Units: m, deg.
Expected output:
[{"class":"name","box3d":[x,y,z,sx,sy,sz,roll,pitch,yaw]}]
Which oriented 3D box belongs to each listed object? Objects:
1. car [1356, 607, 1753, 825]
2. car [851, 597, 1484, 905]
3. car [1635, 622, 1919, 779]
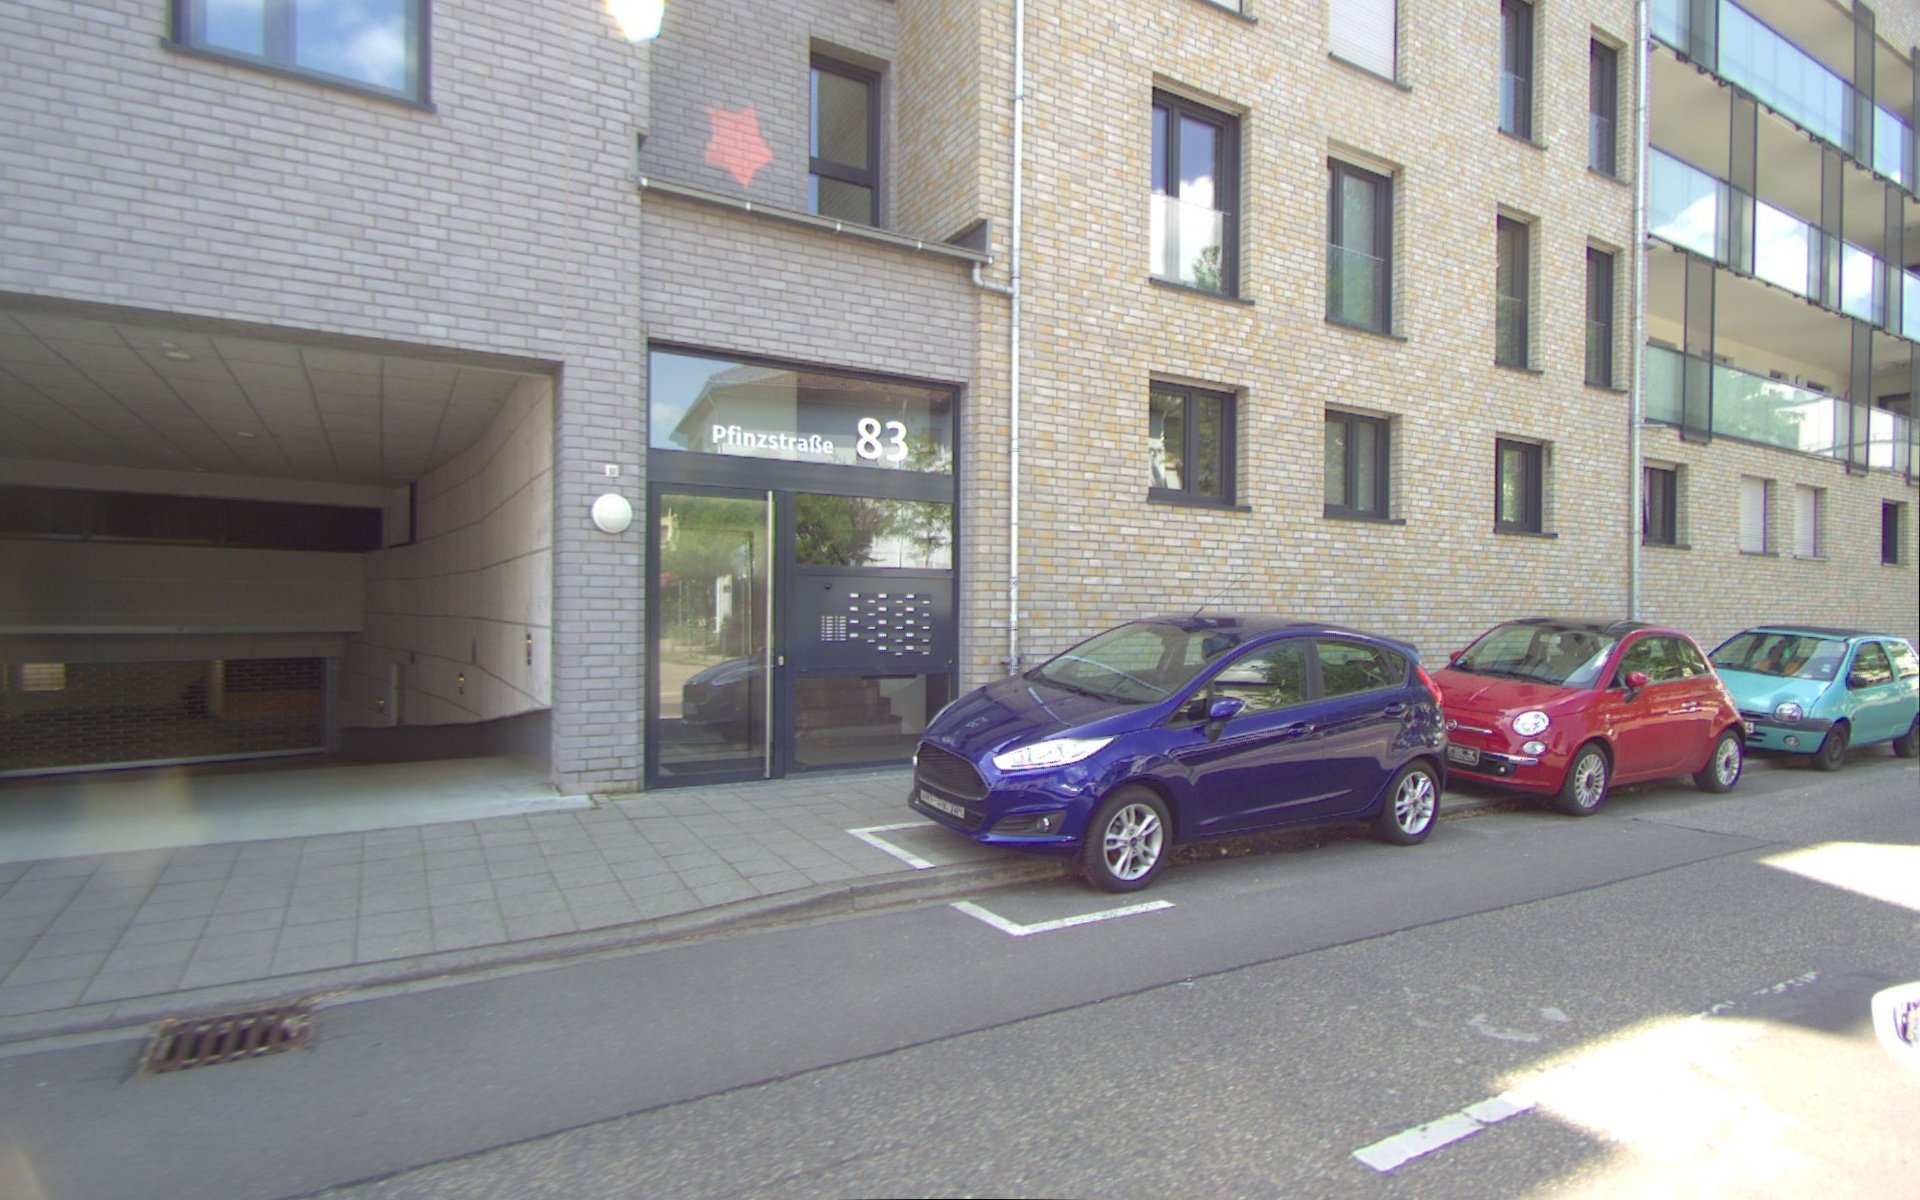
[{"class":"car","box3d":[5.353,0.878,8.963,3.530,1.575,1.582,1,0,-32]},{"class":"car","box3d":[1.445,0.769,6.653,3.957,1.476,1.715,1,1,-30]},{"class":"car","box3d":[9.582,1.035,11.580,3.661,1.476,1.582,1,1,-32]}]
